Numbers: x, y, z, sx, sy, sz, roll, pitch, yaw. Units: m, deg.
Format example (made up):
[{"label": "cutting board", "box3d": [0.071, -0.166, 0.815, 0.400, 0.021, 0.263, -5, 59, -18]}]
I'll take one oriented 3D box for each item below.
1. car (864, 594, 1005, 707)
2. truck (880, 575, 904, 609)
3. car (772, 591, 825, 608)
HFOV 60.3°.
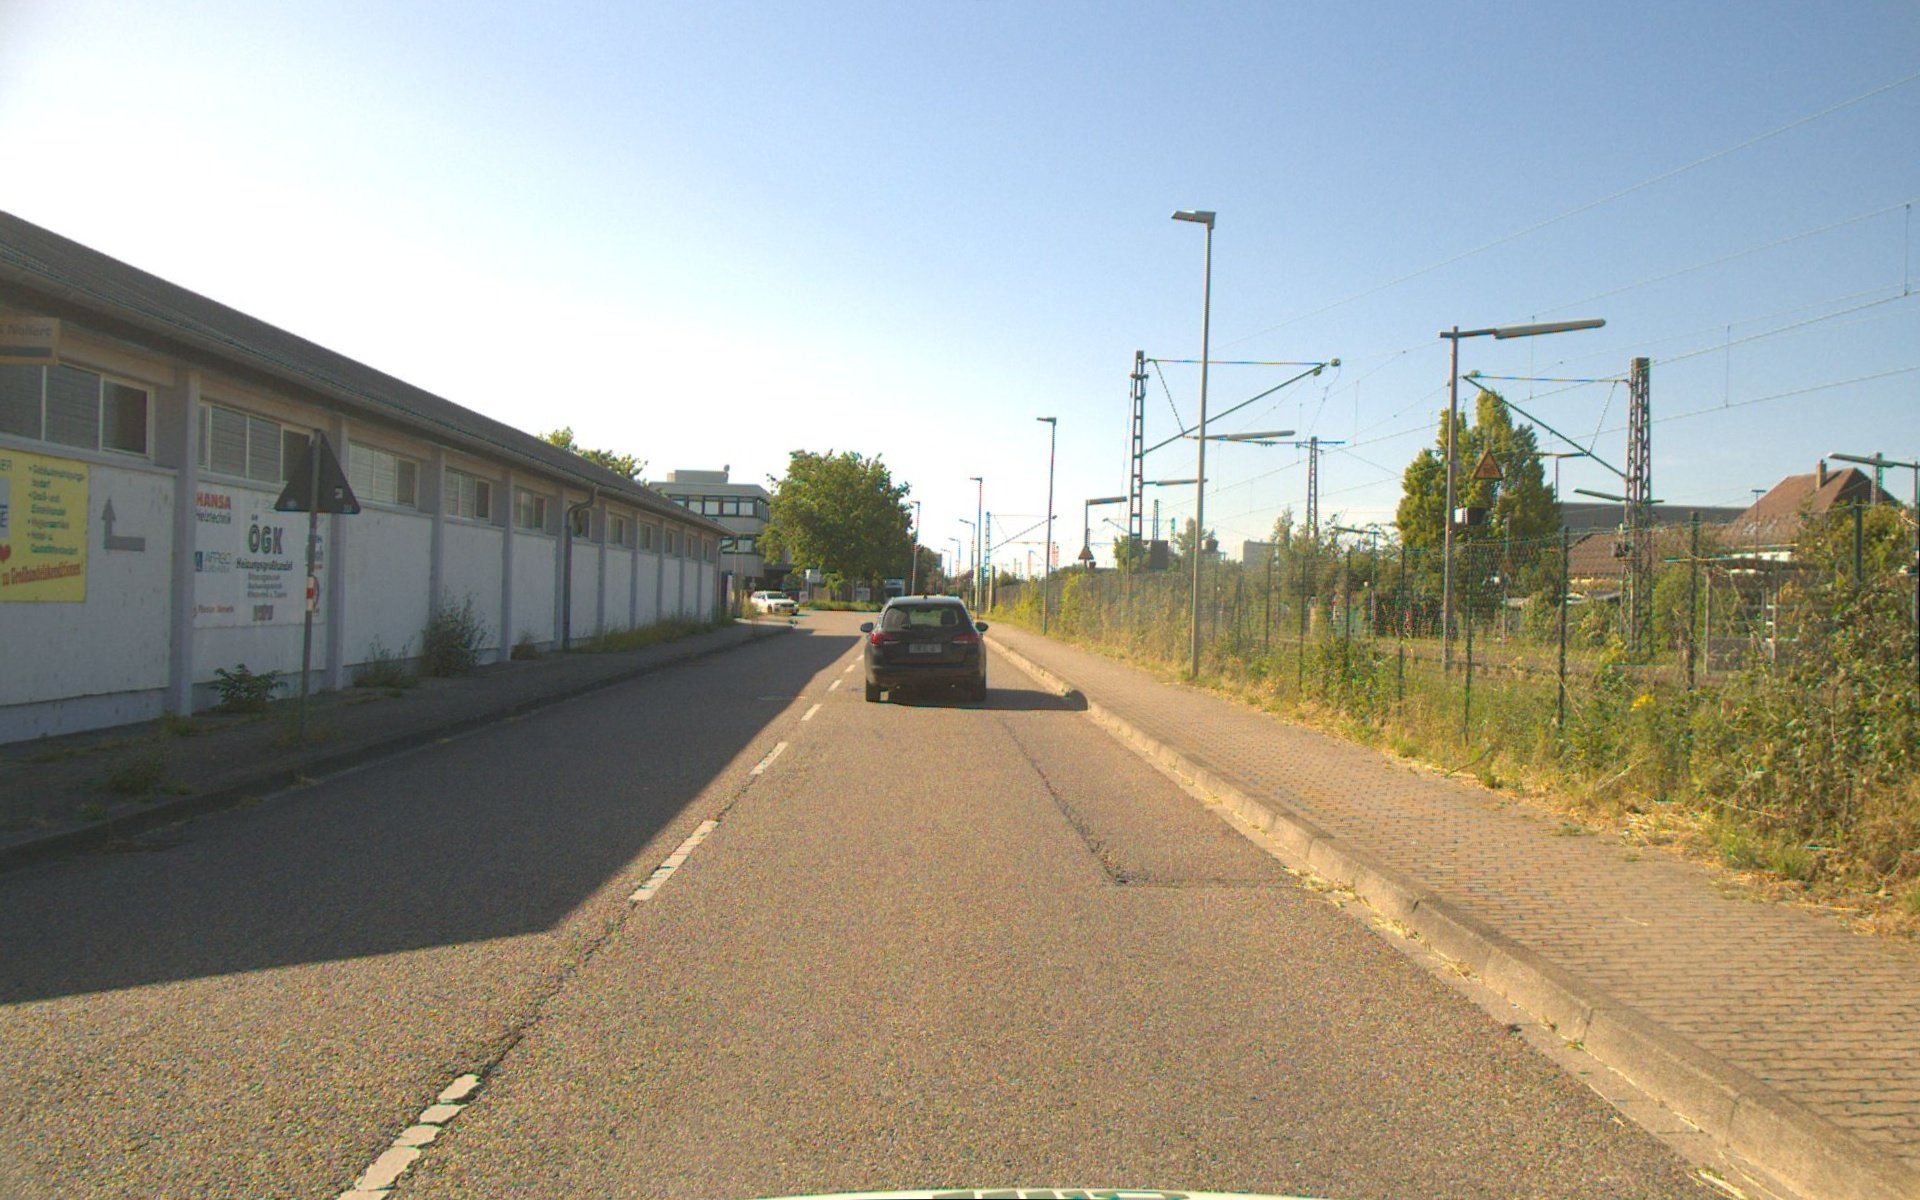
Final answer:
[{"label": "car", "box3d": [-0.413, 0.686, 24.617, 1.903, 1.515, 4.563, 0, 0, -2]}, {"label": "truck", "box3d": [-8.384, -0.913, 202.287, 2.561, 3.953, 13.522, 2, 0, -3]}, {"label": "car", "box3d": [-15.382, -0.079, 157.713, 4.808, 1.510, 2.001, 1, 1, 3]}]
